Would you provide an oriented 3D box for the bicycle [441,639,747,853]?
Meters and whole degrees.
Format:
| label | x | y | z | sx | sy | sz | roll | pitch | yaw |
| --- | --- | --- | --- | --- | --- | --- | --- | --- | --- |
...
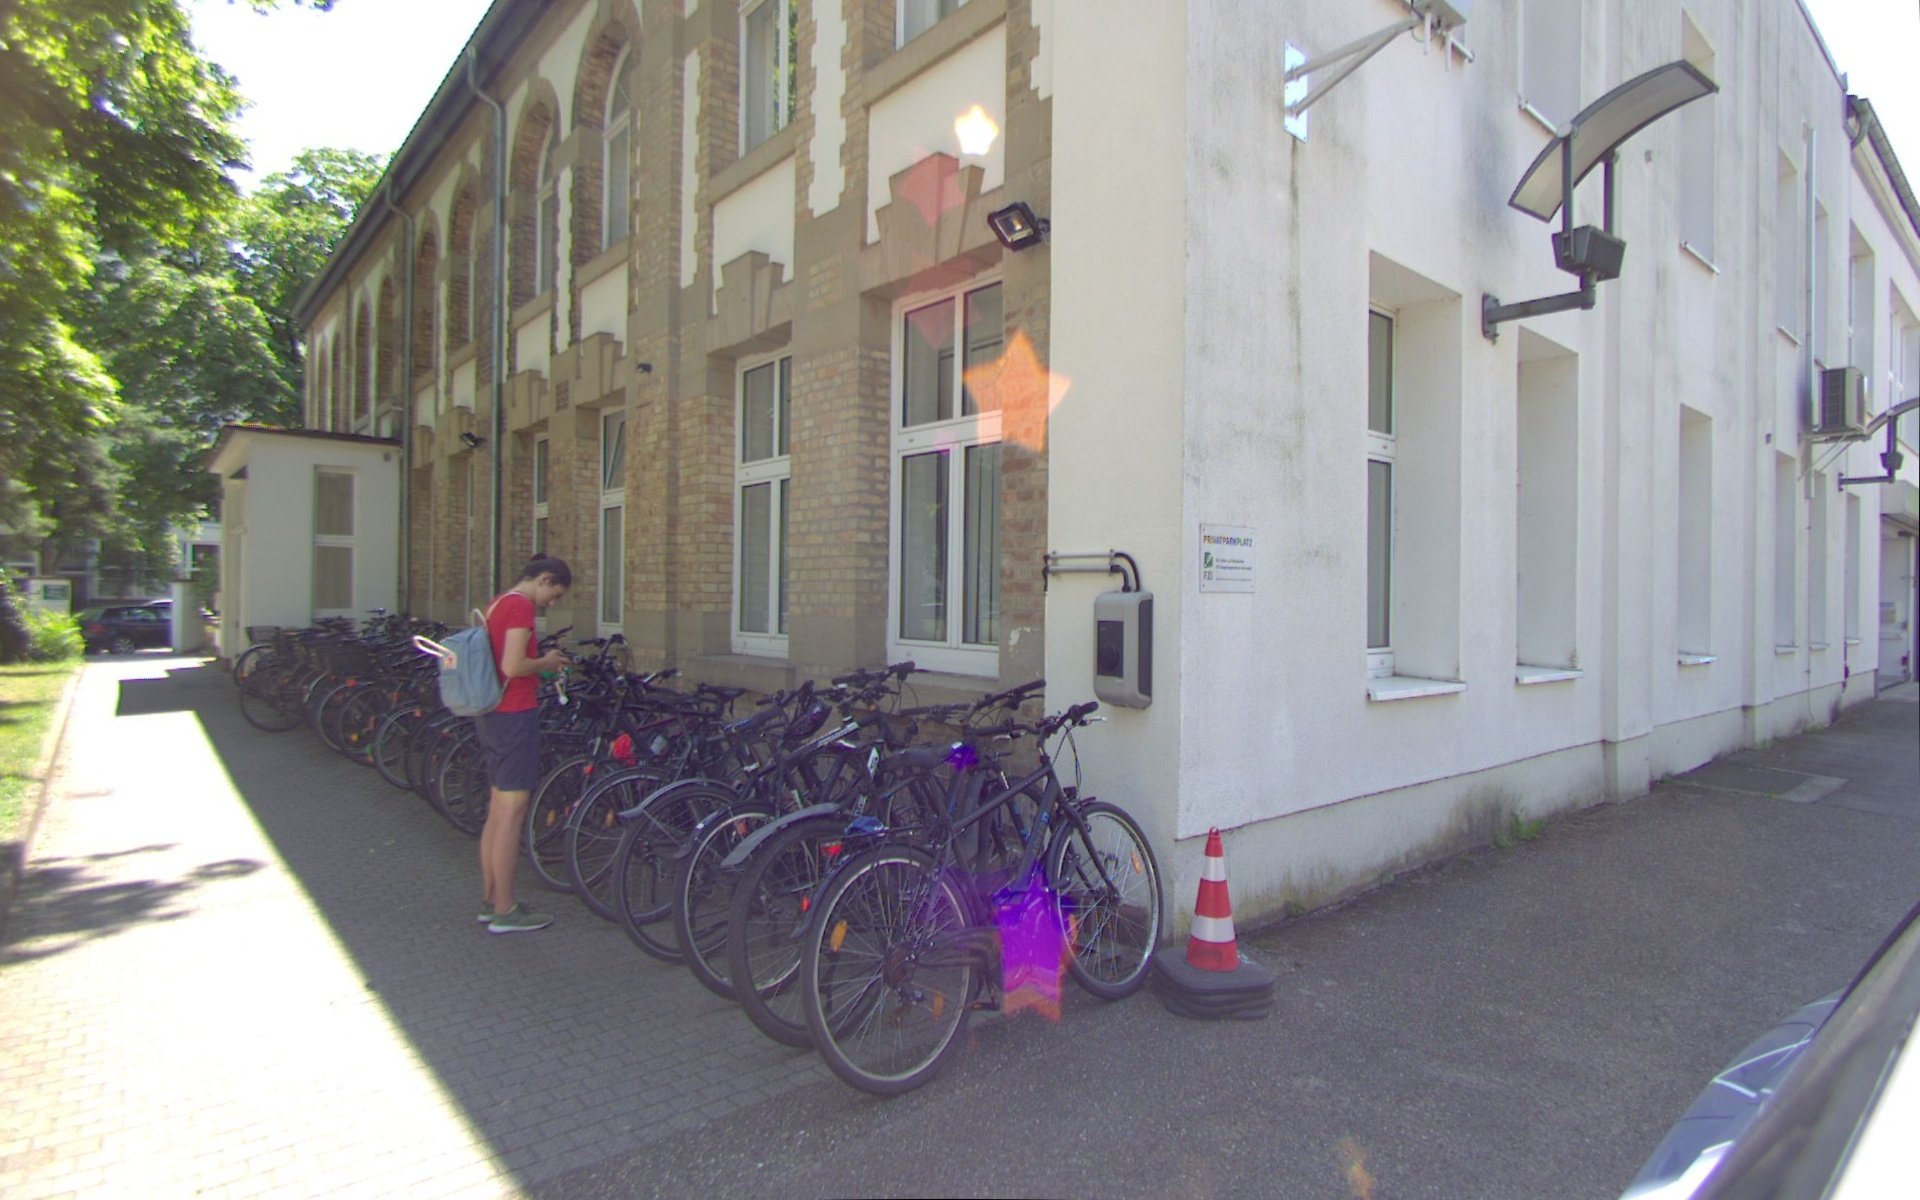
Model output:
| label | x | y | z | sx | sy | sz | roll | pitch | yaw |
| --- | --- | --- | --- | --- | --- | --- | --- | --- | --- |
| bicycle | -2.242 | 0.842 | 6.374 | 1.794 | 1.115 | 0.406 | 0 | 1 | -40 |

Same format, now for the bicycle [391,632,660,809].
| label | x | y | z | sx | sy | sz | roll | pitch | yaw |
| --- | --- | --- | --- | --- | --- | --- | --- | --- | --- |
| bicycle | -3.156 | 0.824 | 7.484 | 1.794 | 1.115 | 0.406 | 0 | 1 | -40 |

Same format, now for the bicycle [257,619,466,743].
| label | x | y | z | sx | sy | sz | roll | pitch | yaw |
| --- | --- | --- | --- | --- | --- | --- | --- | --- | --- |
| bicycle | -6.043 | 0.779 | 10.289 | 1.794 | 1.115 | 0.406 | 0 | 1 | -40 |

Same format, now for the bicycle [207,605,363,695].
| label | x | y | z | sx | sy | sz | roll | pitch | yaw |
| --- | --- | --- | --- | --- | --- | --- | --- | --- | --- |
| bicycle | -9.678 | 0.693 | 14.557 | 1.795 | 1.115 | 0.406 | -4 | 3 | -40 |

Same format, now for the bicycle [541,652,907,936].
| label | x | y | z | sx | sy | sz | roll | pitch | yaw |
| --- | --- | --- | --- | --- | --- | --- | --- | --- | --- |
| bicycle | -1.098 | 0.863 | 5.041 | 1.794 | 1.115 | 0.406 | 0 | 1 | -40 |

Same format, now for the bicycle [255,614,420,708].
| label | x | y | z | sx | sy | sz | roll | pitch | yaw |
| --- | --- | --- | --- | --- | --- | --- | --- | --- | --- |
| bicycle | -8.047 | 0.759 | 13.140 | 1.794 | 1.115 | 0.406 | 0 | 1 | -40 |

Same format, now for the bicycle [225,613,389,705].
| label | x | y | z | sx | sy | sz | roll | pitch | yaw |
| --- | --- | --- | --- | --- | --- | --- | --- | --- | --- |
| bicycle | -8.628 | 0.754 | 13.424 | 1.794 | 1.115 | 0.406 | 0 | 1 | -40 |

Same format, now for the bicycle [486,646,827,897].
| label | x | y | z | sx | sy | sz | roll | pitch | yaw |
| --- | --- | --- | --- | --- | --- | --- | --- | --- | --- |
| bicycle | -1.604 | 0.854 | 5.584 | 1.794 | 1.115 | 0.406 | 0 | 1 | -40 |

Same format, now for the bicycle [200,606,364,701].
| label | x | y | z | sx | sy | sz | roll | pitch | yaw |
| --- | --- | --- | --- | --- | --- | --- | --- | --- | --- |
| bicycle | -9.286 | 0.702 | 13.918 | 1.795 | 1.115 | 0.406 | -4 | 3 | -40 |

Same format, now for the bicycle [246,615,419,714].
| label | x | y | z | sx | sy | sz | roll | pitch | yaw |
| --- | --- | --- | --- | --- | --- | --- | --- | --- | --- |
| bicycle | -7.748 | 0.767 | 12.558 | 1.794 | 1.115 | 0.406 | 0 | 1 | -40 |

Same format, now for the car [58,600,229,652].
| label | x | y | z | sx | sy | sz | roll | pitch | yaw |
| --- | --- | --- | --- | --- | --- | --- | --- | --- | --- |
| car | -23.368 | 0.698 | 29.098 | 1.635 | 1.359 | 3.503 | 0 | 1 | 23 |

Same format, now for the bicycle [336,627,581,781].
| label | x | y | z | sx | sy | sz | roll | pitch | yaw |
| --- | --- | --- | --- | --- | --- | --- | --- | --- | --- |
| bicycle | -4.126 | 0.809 | 8.430 | 1.794 | 1.115 | 0.406 | 0 | 1 | -40 |

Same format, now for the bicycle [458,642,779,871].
| label | x | y | z | sx | sy | sz | roll | pitch | yaw |
| --- | --- | --- | --- | --- | --- | --- | --- | --- | --- |
| bicycle | -1.968 | 0.847 | 6.027 | 1.794 | 1.115 | 0.406 | 0 | 1 | -40 |

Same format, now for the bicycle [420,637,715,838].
| label | x | y | z | sx | sy | sz | roll | pitch | yaw |
| --- | --- | --- | --- | --- | --- | --- | --- | --- | --- |
| bicycle | -2.543 | 0.836 | 6.711 | 1.794 | 1.115 | 0.406 | 0 | 1 | -40 |

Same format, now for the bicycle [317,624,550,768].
| label | x | y | z | sx | sy | sz | roll | pitch | yaw |
| --- | --- | --- | --- | --- | --- | --- | --- | --- | --- |
| bicycle | -4.610 | 0.801 | 8.953 | 1.794 | 1.115 | 0.406 | 0 | 1 | -40 |

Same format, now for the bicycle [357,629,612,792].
| label | x | y | z | sx | sy | sz | roll | pitch | yaw |
| --- | --- | --- | --- | --- | --- | --- | --- | --- | --- |
| bicycle | -3.716 | 0.815 | 8.026 | 1.794 | 1.115 | 0.406 | 0 | 1 | -40 |

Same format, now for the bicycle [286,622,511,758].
| label | x | y | z | sx | sy | sz | roll | pitch | yaw |
| --- | --- | --- | --- | --- | --- | --- | --- | --- | --- |
| bicycle | -5.200 | 0.792 | 9.454 | 1.794 | 1.115 | 0.406 | 0 | 1 | -40 |

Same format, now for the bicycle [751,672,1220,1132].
| label | x | y | z | sx | sy | sz | roll | pitch | yaw |
| --- | --- | --- | --- | --- | --- | --- | --- | --- | --- |
| bicycle | 0.186 | 0.865 | 3.459 | 1.794 | 1.115 | 0.406 | 0 | 1 | -40 |

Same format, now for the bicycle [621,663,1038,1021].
| label | x | y | z | sx | sy | sz | roll | pitch | yaw |
| --- | --- | --- | --- | --- | --- | --- | --- | --- | --- |
| bicycle | -0.455 | 0.876 | 4.209 | 1.794 | 1.115 | 0.406 | 0 | 1 | -40 |

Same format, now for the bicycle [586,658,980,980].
| label | x | y | z | sx | sy | sz | roll | pitch | yaw |
| --- | --- | --- | --- | --- | --- | --- | --- | --- | --- |
| bicycle | -0.716 | 0.870 | 4.564 | 1.794 | 1.115 | 0.406 | 0 | 1 | -40 |

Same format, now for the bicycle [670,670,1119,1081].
| label | x | y | z | sx | sy | sz | roll | pitch | yaw |
| --- | --- | --- | --- | --- | --- | --- | --- | --- | --- |
| bicycle | -0.151 | 0.882 | 3.789 | 1.794 | 1.115 | 0.406 | 0 | 1 | -40 |

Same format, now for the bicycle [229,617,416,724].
| label | x | y | z | sx | sy | sz | roll | pitch | yaw |
| --- | --- | --- | --- | --- | --- | --- | --- | --- | --- |
| bicycle | -7.337 | 0.780 | 11.707 | 1.794 | 1.115 | 0.406 | 0 | 1 | -40 |

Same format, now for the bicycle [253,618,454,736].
| label | x | y | z | sx | sy | sz | roll | pitch | yaw |
| --- | --- | --- | --- | --- | --- | --- | --- | --- | --- |
| bicycle | -6.369 | 0.773 | 10.698 | 1.794 | 1.115 | 0.406 | 0 | 1 | -40 |

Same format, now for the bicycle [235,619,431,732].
| label | x | y | z | sx | sy | sz | roll | pitch | yaw |
| --- | --- | --- | --- | --- | --- | --- | --- | --- | --- |
| bicycle | -6.848 | 0.790 | 11.121 | 1.794 | 1.115 | 0.406 | 0 | 1 | -40 |

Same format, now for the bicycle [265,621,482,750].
| label | x | y | z | sx | sy | sz | roll | pitch | yaw |
| --- | --- | --- | --- | --- | --- | --- | --- | --- | --- |
| bicycle | -5.684 | 0.785 | 9.890 | 1.794 | 1.115 | 0.406 | 0 | 1 | -40 |

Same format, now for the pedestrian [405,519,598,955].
| label | x | y | z | sx | sy | sz | roll | pitch | yaw |
| --- | --- | --- | --- | --- | --- | --- | --- | --- | --- |
| pedestrian | -2.056 | 0.552 | 4.538 | 0.677 | 1.770 | 0.552 | 0 | 0 | -39 |
